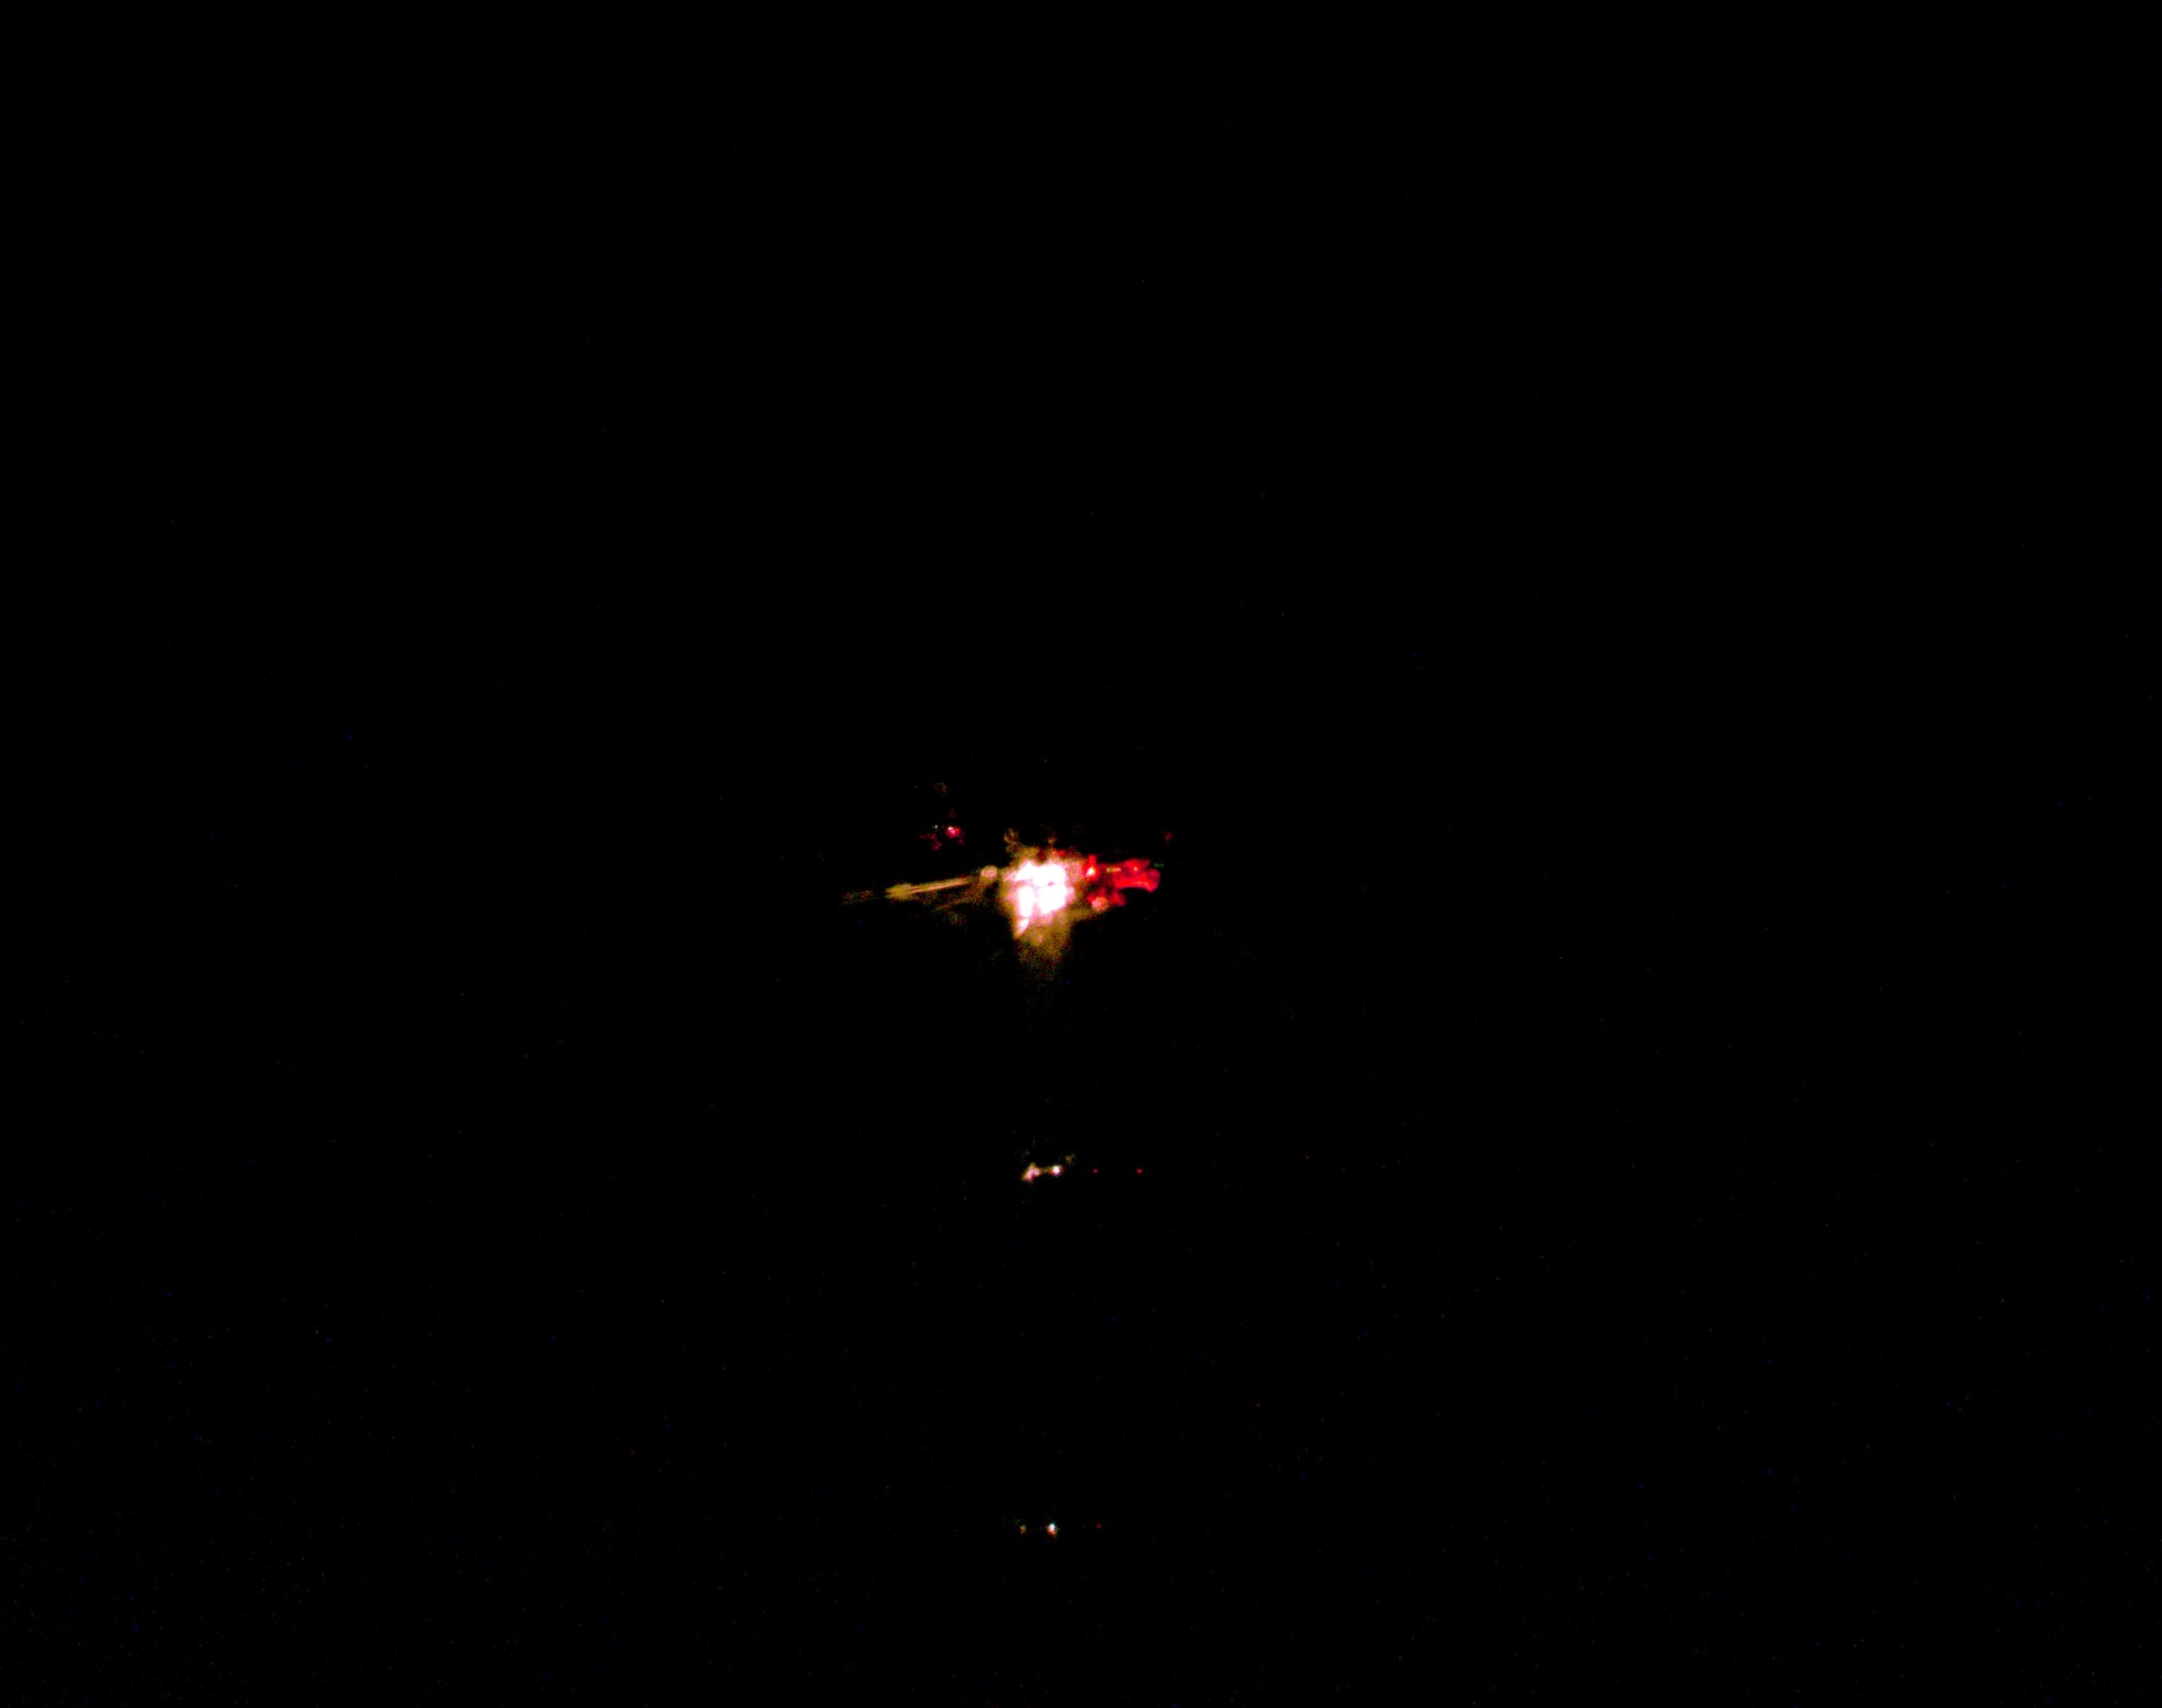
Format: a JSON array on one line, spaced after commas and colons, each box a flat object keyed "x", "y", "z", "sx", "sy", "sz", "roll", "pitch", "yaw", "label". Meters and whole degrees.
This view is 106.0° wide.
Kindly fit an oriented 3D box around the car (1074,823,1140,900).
[{"x": 0.941, "y": 0.171, "z": 29.491, "sx": 2.173, "sy": 2.557, "sz": 4.510, "roll": 0, "pitch": 2, "yaw": 2, "label": "car"}]

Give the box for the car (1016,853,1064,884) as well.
[{"x": -2.048, "y": 0.751, "z": 42.166, "sx": 1.911, "sy": 1.471, "sz": 4.577, "roll": -3, "pitch": -1, "yaw": 3, "label": "car"}]
